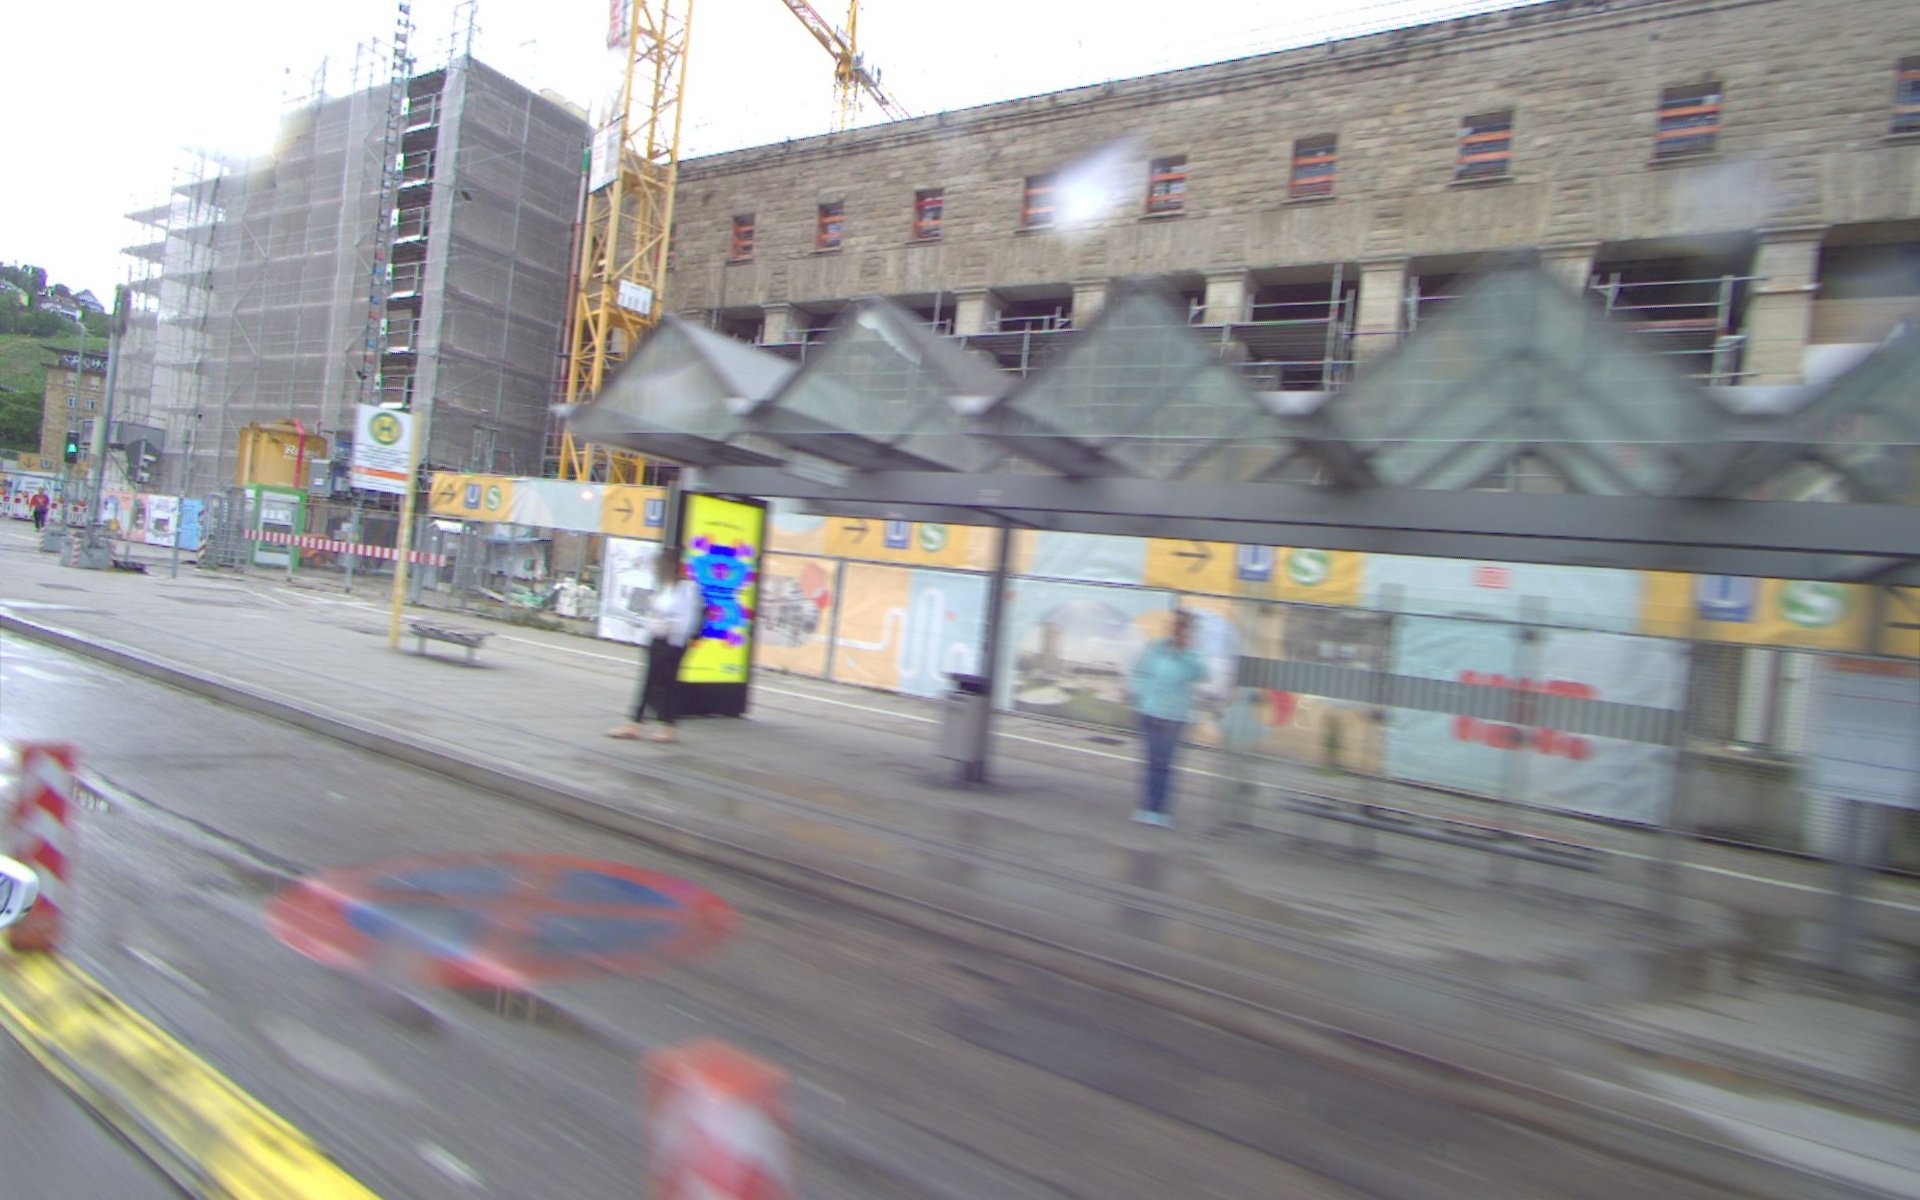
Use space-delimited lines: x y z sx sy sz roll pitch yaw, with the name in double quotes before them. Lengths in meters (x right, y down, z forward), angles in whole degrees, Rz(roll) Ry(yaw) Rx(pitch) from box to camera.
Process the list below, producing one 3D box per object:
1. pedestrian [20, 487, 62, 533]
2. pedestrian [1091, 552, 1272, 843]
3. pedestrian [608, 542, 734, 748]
"pedestrian" -35.511 -3.470 38.868 0.847 1.628 0.769 7 1 18
"pedestrian" 1.713 0.741 7.914 0.911 2.075 0.803 7 0 -9
"pedestrian" -2.566 0.390 8.991 0.709 1.701 0.703 7 1 4
